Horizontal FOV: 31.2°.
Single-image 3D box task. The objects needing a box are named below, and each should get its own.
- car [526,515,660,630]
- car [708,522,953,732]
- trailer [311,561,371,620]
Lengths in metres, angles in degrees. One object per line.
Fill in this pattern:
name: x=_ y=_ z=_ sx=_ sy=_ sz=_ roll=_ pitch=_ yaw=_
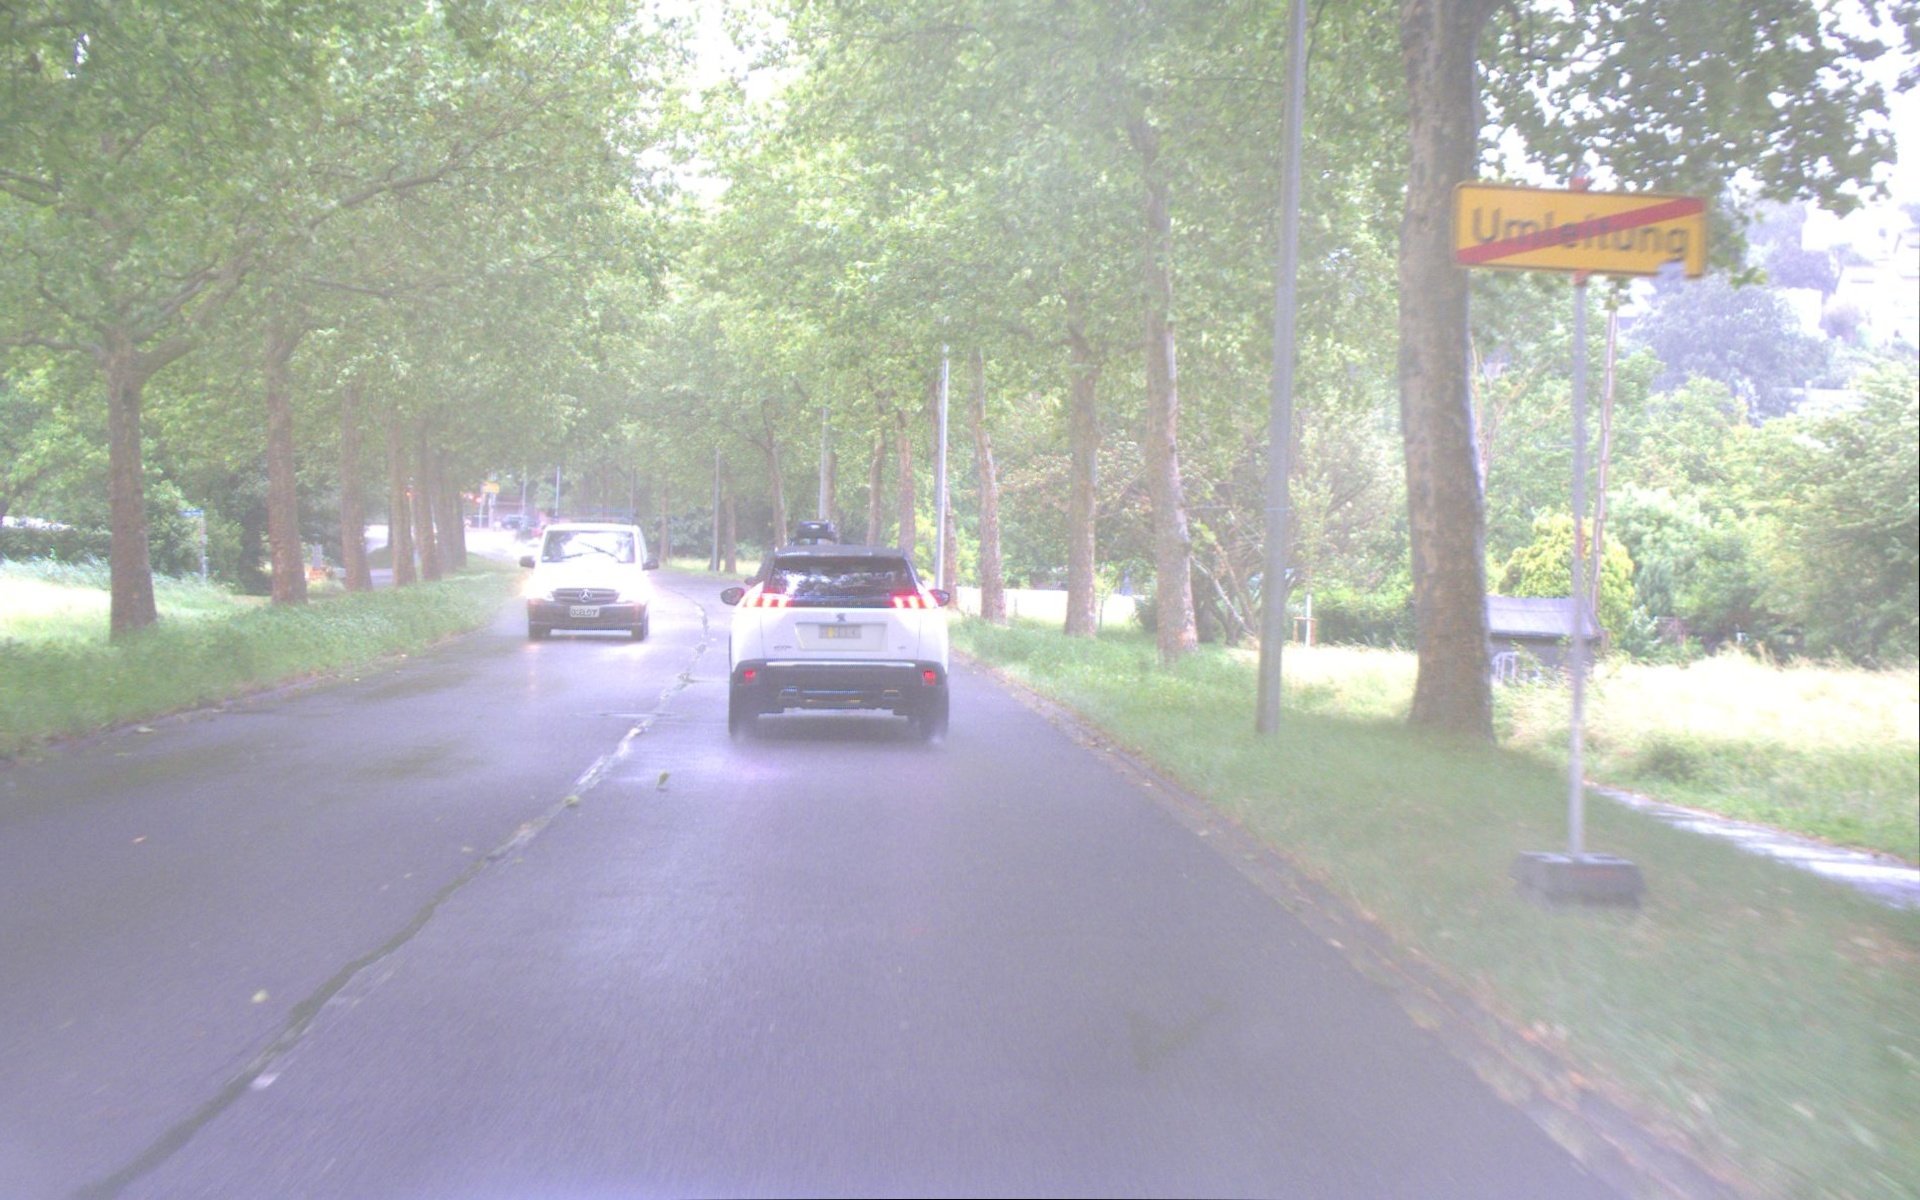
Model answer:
car: x=-5.980 y=-0.475 z=56.454 sx=1.862 sy=1.744 sz=5.016 roll=2 pitch=1 yaw=-3
car: x=-1.009 y=0.167 z=28.666 sx=1.794 sy=1.573 sz=3.844 roll=2 pitch=1 yaw=1
trailer: x=-28.653 y=-0.444 z=159.222 sx=2.484 sy=2.558 sz=5.334 roll=2 pitch=1 yaw=-8
